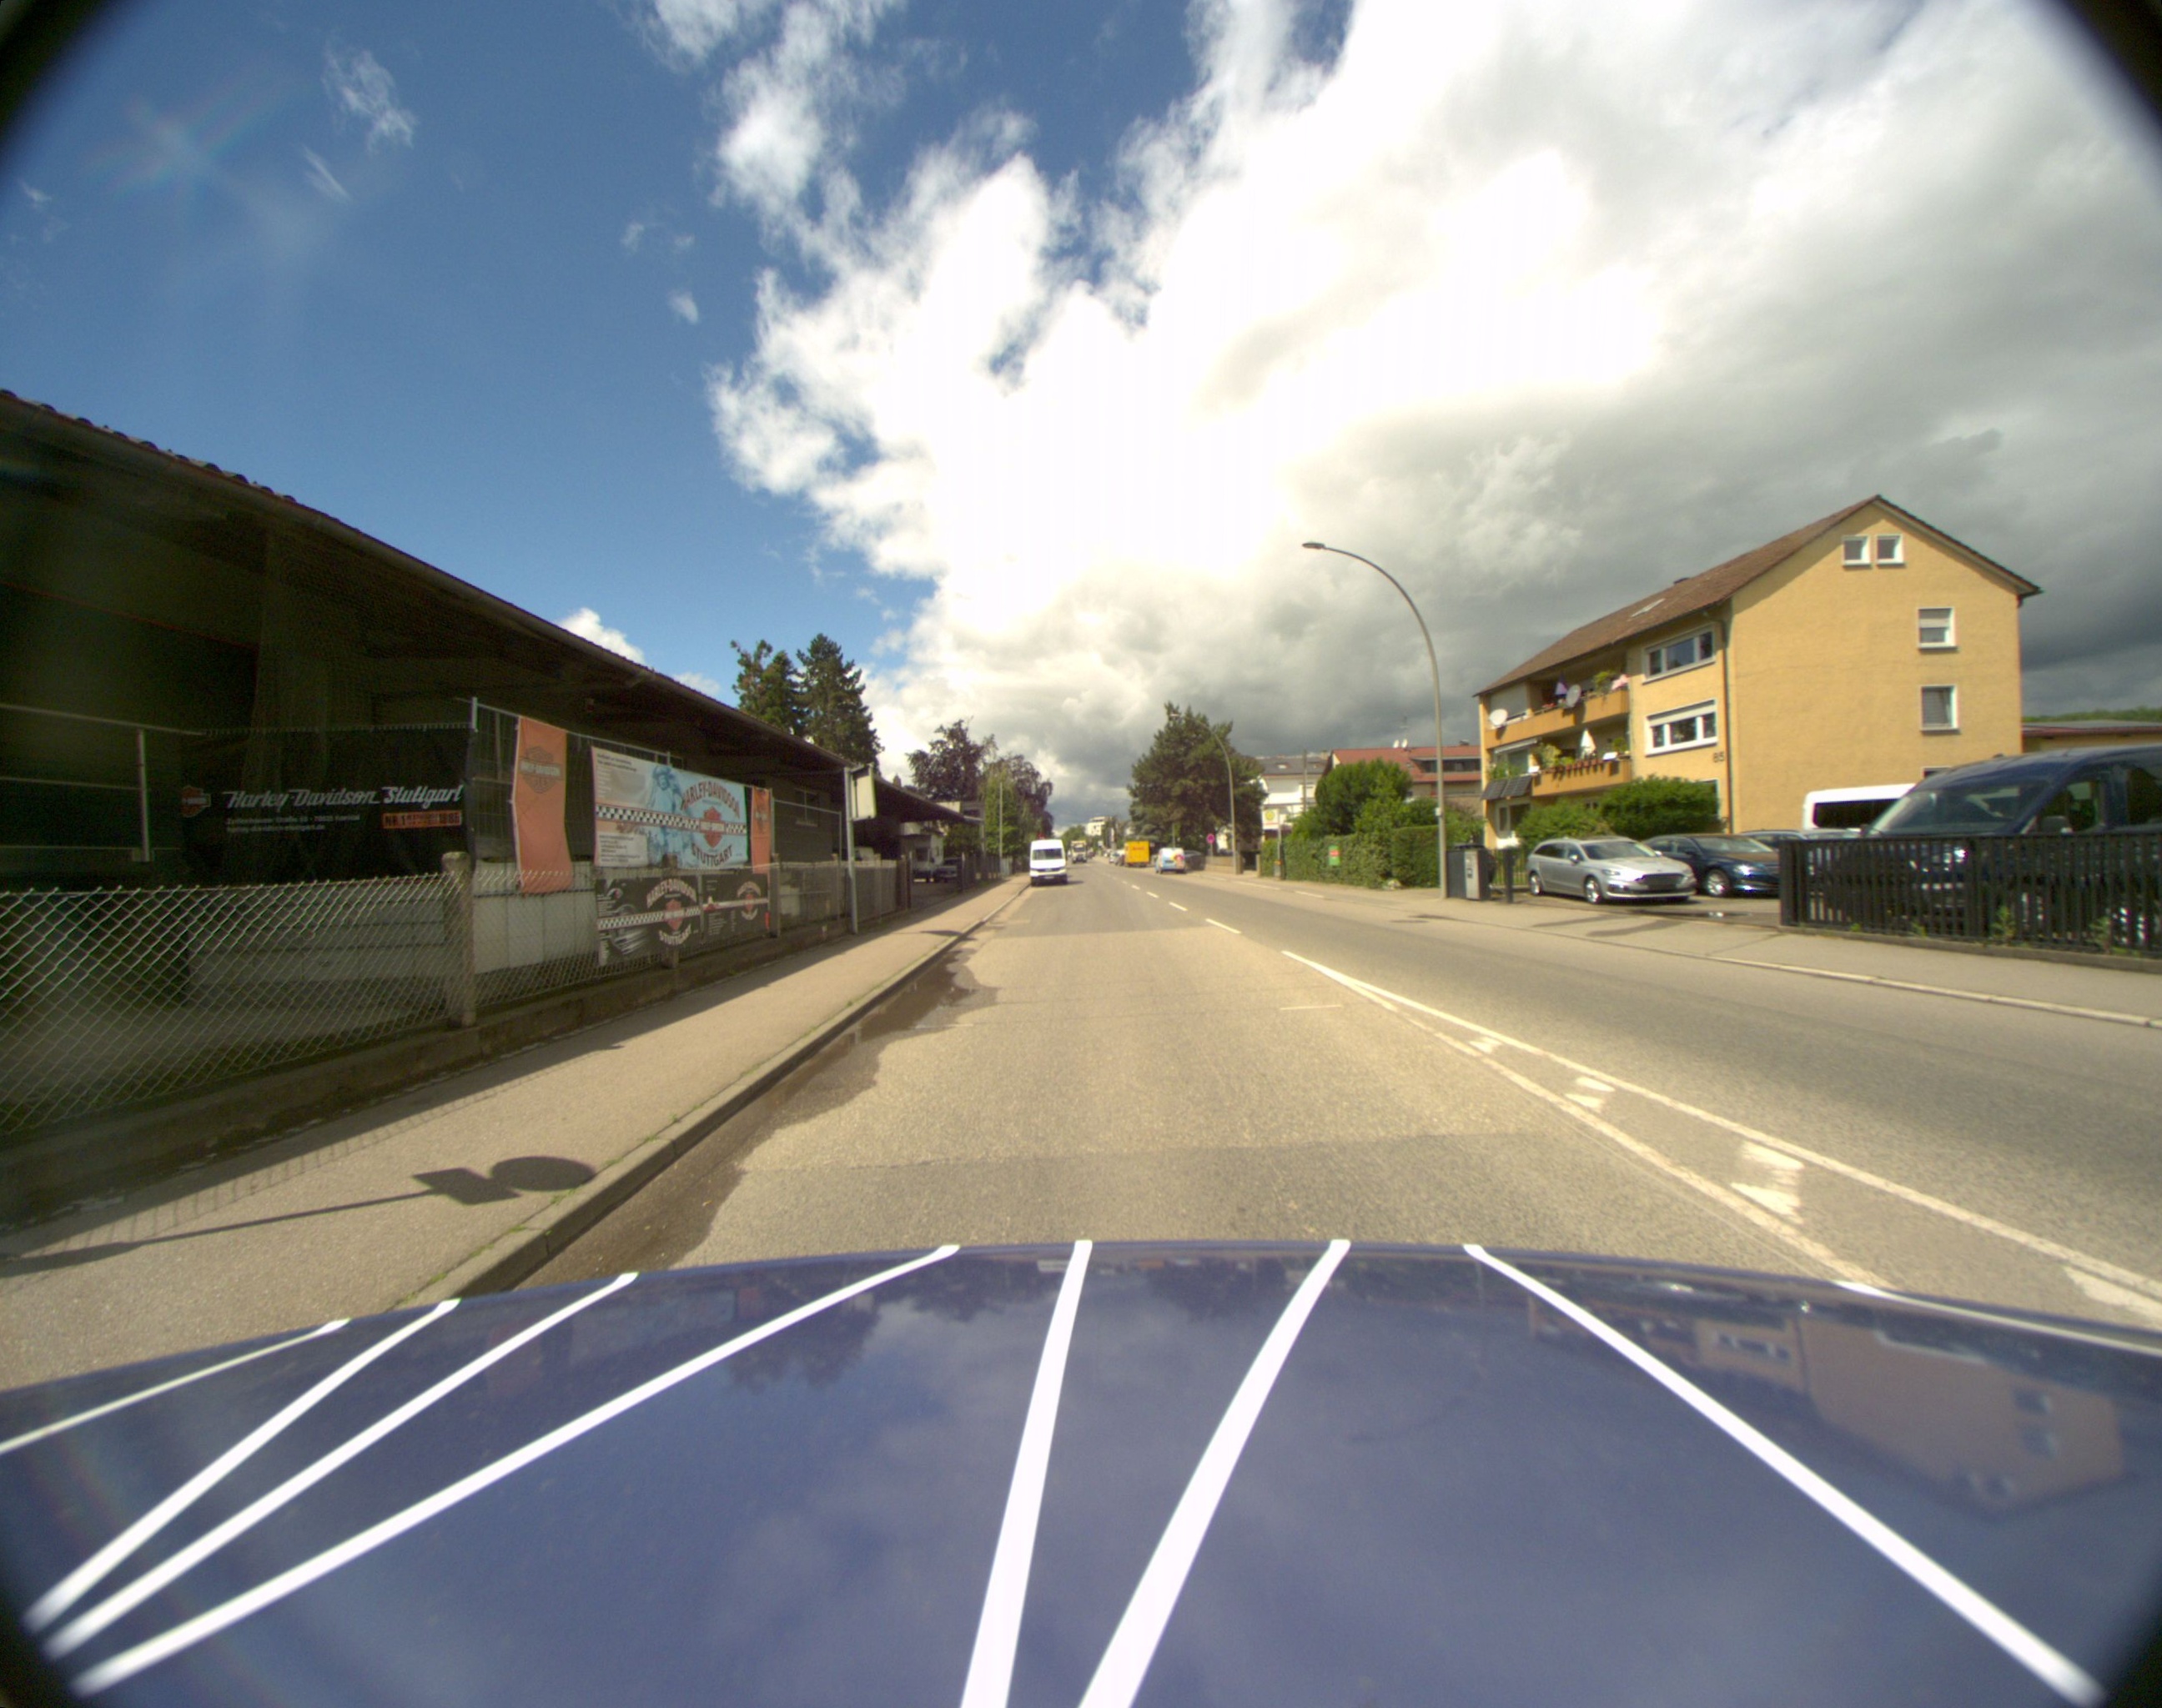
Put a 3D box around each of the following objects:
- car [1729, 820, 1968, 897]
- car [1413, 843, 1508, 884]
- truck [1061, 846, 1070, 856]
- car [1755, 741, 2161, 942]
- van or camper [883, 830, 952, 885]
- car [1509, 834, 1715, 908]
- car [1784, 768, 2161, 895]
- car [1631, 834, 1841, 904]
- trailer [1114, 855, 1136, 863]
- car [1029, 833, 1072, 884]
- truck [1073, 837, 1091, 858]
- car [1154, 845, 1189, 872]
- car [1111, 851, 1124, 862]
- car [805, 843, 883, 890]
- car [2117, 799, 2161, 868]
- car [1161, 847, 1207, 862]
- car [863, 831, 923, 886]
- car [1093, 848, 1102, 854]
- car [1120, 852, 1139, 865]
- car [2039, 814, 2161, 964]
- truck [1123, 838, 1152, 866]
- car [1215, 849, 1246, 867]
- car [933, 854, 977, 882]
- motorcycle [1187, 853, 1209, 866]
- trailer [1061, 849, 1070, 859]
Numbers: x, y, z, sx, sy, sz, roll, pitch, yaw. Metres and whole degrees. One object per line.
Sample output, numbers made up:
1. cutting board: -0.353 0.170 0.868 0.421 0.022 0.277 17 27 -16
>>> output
1. car: 17.881 0.081 18.055 1.848 1.568 4.334 -1 0 11
2. car: 14.255 0.315 28.835 1.848 1.418 4.332 -2 0 7
3. truck: -4.663 -0.978 228.881 2.411 2.722 6.639 -4 1 -1
4. car: 13.804 -0.207 10.919 6.053 2.482 2.477 -2 0 -1
5. van or camper: -9.936 0.194 46.923 2.889 3.043 6.911 -2 0 -2
6. car: 12.445 0.338 18.340 1.997 1.477 5.344 -2 0 10
7. car: 20.562 -0.454 17.929 2.418 2.481 6.135 0 0 2
8. car: 15.241 0.306 18.041 1.848 1.418 4.334 -2 0 11
9. trailer: 5.711 0.687 99.579 2.324 0.985 7.457 0 0 -1
10. car: -1.724 0.225 43.763 2.221 2.673 6.656 -1 0 -2
11. truck: 0.093 -1.115 131.708 2.880 3.290 8.605 -4 1 -1
12. car: 6.556 0.352 55.567 1.838 1.842 4.895 1 -1 -1
13. car: 5.567 0.444 117.266 1.809 1.666 4.127 0 0 -1
14. car: -10.492 0.557 34.038 1.999 1.898 4.852 -2 0 -1
15. car: 28.631 -0.542 18.156 1.849 1.781 4.330 -2 0 0
16. car: 11.904 0.092 87.988 5.021 1.543 1.972 -2 1 -2
17. car: -10.017 0.268 40.897 2.023 2.665 5.497 -2 -1 -2
18. car: 4.073 -0.742 185.567 1.906 1.509 4.317 -1 0 -2
19. car: 5.930 0.558 93.266 1.999 1.445 4.811 2 0 -1
20. car: 12.541 0.344 6.961 2.037 1.585 4.283 -2 0 -4
21. truck: 6.286 -0.211 85.559 2.330 2.986 7.816 0 0 -2
22. car: 13.663 0.345 69.658 1.772 1.534 4.086 -2 0 -5
23. car: -7.362 0.794 44.722 1.769 1.480 4.926 -2 0 -1
24. motorcycle: 10.550 0.509 68.468 1.872 1.159 0.825 -2 0 16
25. trailer: -3.623 -0.077 177.279 2.045 2.214 5.078 -1 0 0
